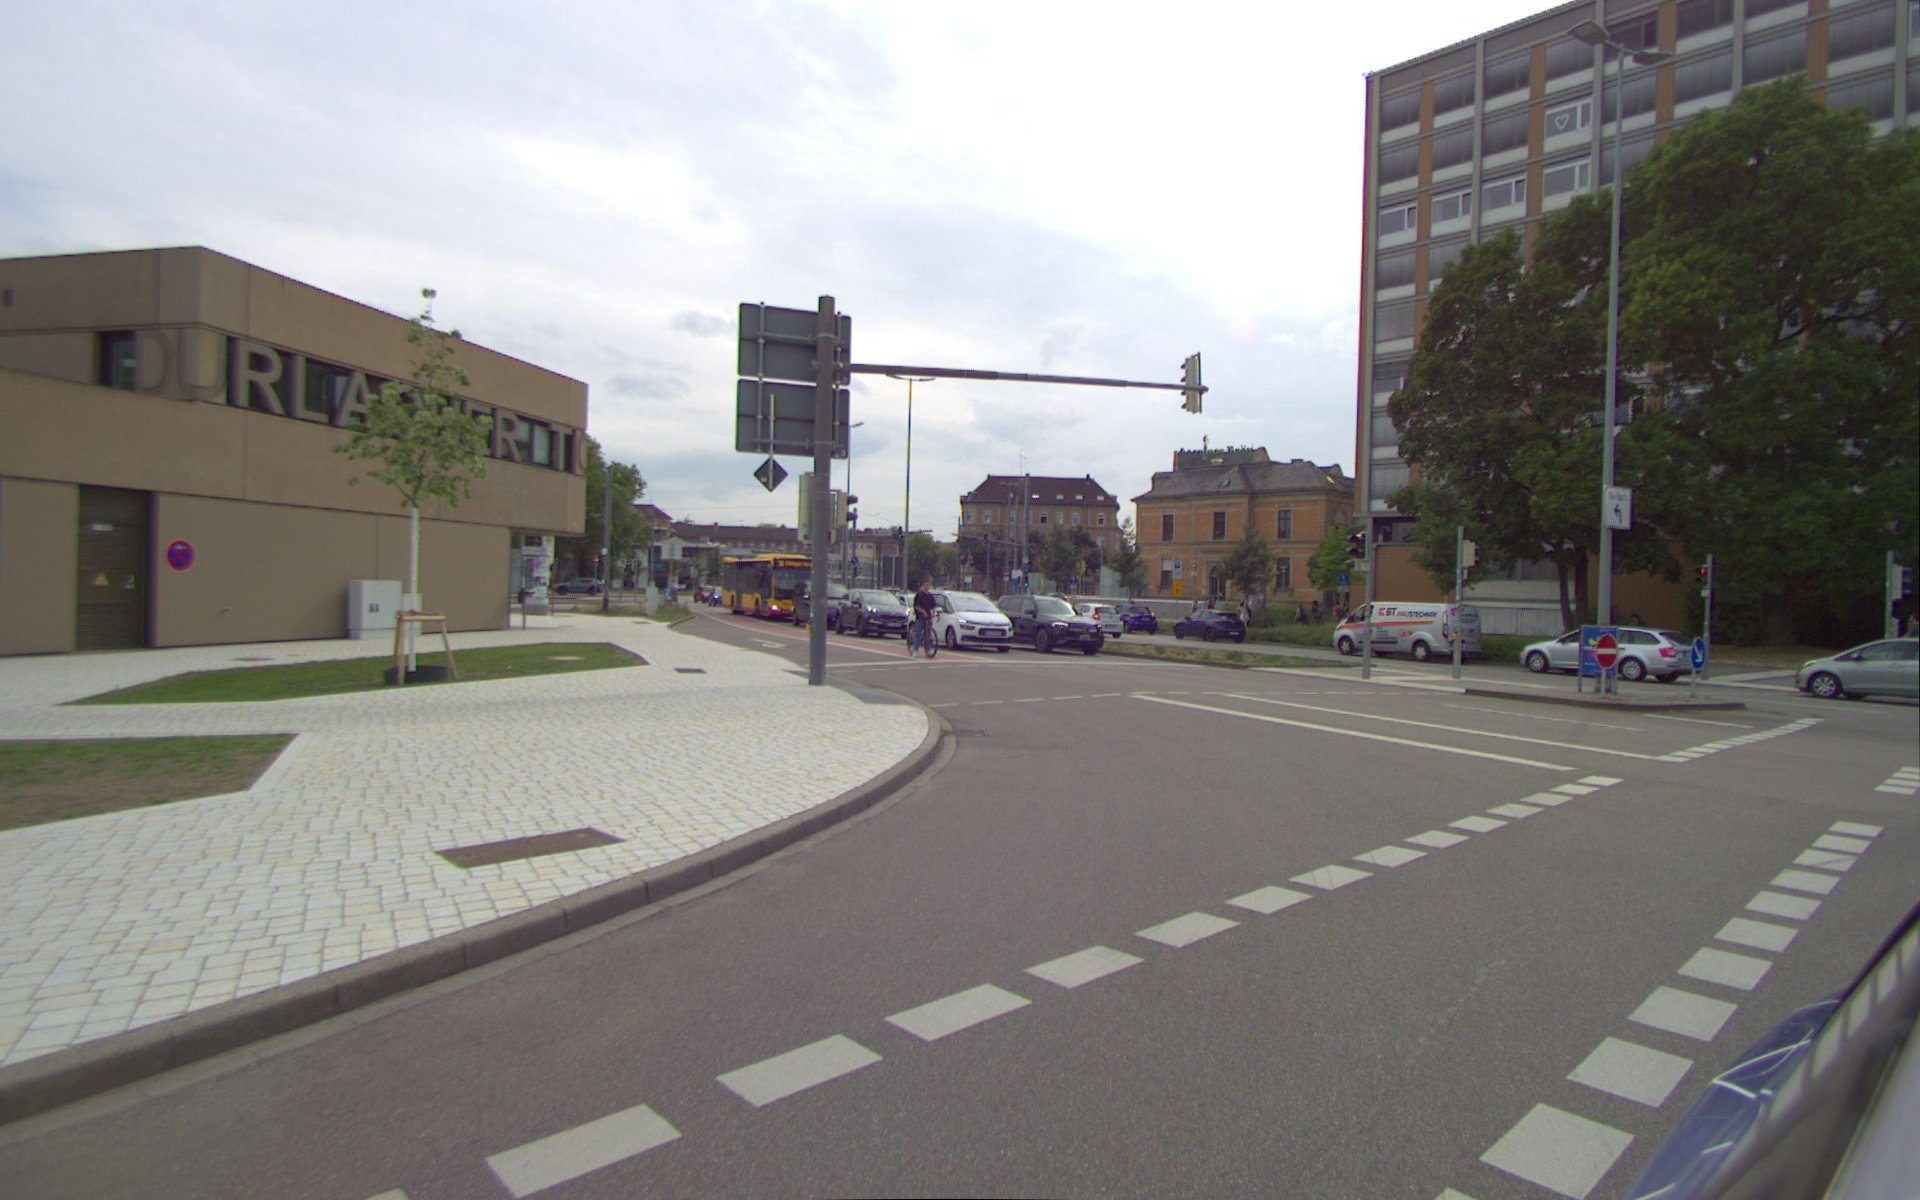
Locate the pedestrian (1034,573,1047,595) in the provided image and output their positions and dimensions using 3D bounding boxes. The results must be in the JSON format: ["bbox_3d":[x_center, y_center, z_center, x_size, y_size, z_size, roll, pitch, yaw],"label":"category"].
[{"bbox_3d":[6.022,-1.202,75.927,0.764,1.593,0.814,0,1,-13],"label":"pedestrian"}]

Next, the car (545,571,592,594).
[{"bbox_3d":[-36.338,-1.627,93.961,3.916,1.906,2.004,3,-1,-21],"label":"car"}]

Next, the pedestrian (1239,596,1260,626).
[{"bbox_3d":[15.648,0.613,54.677,0.764,1.593,0.814,0,1,-13],"label":"pedestrian"}]

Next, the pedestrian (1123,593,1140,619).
[{"bbox_3d":[10.592,0.386,62.371,0.764,1.593,0.814,0,1,-13],"label":"pedestrian"}]

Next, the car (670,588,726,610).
[{"bbox_3d":[-21.635,-0.051,83.599,3.956,1.594,1.997,3,-1,-41],"label":"car"}]

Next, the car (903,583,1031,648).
[{"bbox_3d":[0.104,0.402,28.929,1.958,1.672,4.298,3,-1,-25],"label":"car"}]

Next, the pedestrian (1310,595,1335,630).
[{"bbox_3d":[16.968,0.581,47.413,0.764,1.593,0.814,0,1,-17],"label":"pedestrian"}]

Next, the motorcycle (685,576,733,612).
[{"bbox_3d":[-15.541,-0.381,62.628,1.959,2.039,4.006,3,-1,-27],"label":"motorcycle"}]

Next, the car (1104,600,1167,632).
[{"bbox_3d":[9.016,0.794,52.291,1.636,1.527,3.642,3,-1,-18],"label":"car"}]

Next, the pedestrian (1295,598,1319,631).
[{"bbox_3d":[17.062,0.711,49.757,0.764,1.593,0.814,0,1,-13],"label":"pedestrian"}]

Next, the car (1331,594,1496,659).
[{"bbox_3d":[15.421,0.857,34.798,1.787,1.984,5.214,3,-1,-25],"label":"car"}]

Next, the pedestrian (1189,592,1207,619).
[{"bbox_3d":[14.519,0.320,61.774,0.764,1.593,0.814,0,1,-13],"label":"pedestrian"}]

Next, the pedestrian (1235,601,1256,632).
[{"bbox_3d":[15.133,0.873,53.681,0.764,1.593,0.814,0,1,-13],"label":"pedestrian"}]

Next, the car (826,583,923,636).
[{"bbox_3d":[-3.072,0.295,35.518,1.958,1.672,4.298,3,-1,-25],"label":"car"}]

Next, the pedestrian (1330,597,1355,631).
[{"bbox_3d":[18.095,0.644,47.870,0.764,1.593,0.814,0,1,-17],"label":"pedestrian"}]

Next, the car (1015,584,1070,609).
[{"bbox_3d":[5.148,-0.212,63.496,2.094,1.438,3.708,3,-1,-19],"label":"car"}]

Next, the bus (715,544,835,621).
[{"bbox_3d":[-9.657,-0.818,51.152,3.092,3.296,12.436,3,-1,-23],"label":"bus"}]

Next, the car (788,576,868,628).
[{"bbox_3d":[-5.418,0.049,41.216,1.958,1.923,4.298,3,-1,-25],"label":"car"}]

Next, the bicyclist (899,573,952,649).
[{"bbox_3d":[-0.798,0.251,23.435,0.852,1.690,0.882,3,-1,-30],"label":"bicyclist"}]

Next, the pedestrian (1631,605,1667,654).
[{"bbox_3d":[23.433,0.984,34.429,0.766,1.593,0.812,0,1,-36],"label":"pedestrian"}]

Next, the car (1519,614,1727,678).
[{"bbox_3d":[18.301,1.236,28.189,1.788,1.493,4.535,3,-1,-28],"label":"car"}]

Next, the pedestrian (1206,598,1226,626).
[{"bbox_3d":[14.532,0.672,57.486,0.764,1.593,0.814,0,1,-13],"label":"pedestrian"}]

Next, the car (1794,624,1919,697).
[{"bbox_3d":[21.251,1.375,22.457,1.637,1.508,3.881,3,-1,-27],"label":"car"}]

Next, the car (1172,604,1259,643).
[{"bbox_3d":[11.425,1.019,45.562,1.824,1.552,4.010,3,-1,-20],"label":"car"}]

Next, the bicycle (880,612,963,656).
[{"bbox_3d":[-0.931,0.766,23.609,0.847,0.888,2.522,3,-1,-29],"label":"bicycle"}]

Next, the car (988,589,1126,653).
[{"bbox_3d":[2.740,0.568,29.766,1.958,1.672,4.520,3,-1,-25],"label":"car"}]

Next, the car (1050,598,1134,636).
[{"bbox_3d":[5.680,0.705,44.088,1.723,1.476,4.232,3,-1,-22],"label":"car"}]

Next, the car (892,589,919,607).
[{"bbox_3d":[-5.351,-0.192,98.543,1.801,1.635,3.553,3,-1,-16],"label":"car"}]

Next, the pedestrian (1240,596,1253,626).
[{"bbox_3d":[15.192,0.559,53.735,0.546,1.555,0.543,1,1,31],"label":"pedestrian"}]

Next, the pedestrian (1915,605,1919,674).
[{"bbox_3d":[26.708,1.092,27.706,0.628,1.876,0.708,1,0,-36],"label":"pedestrian"}]
